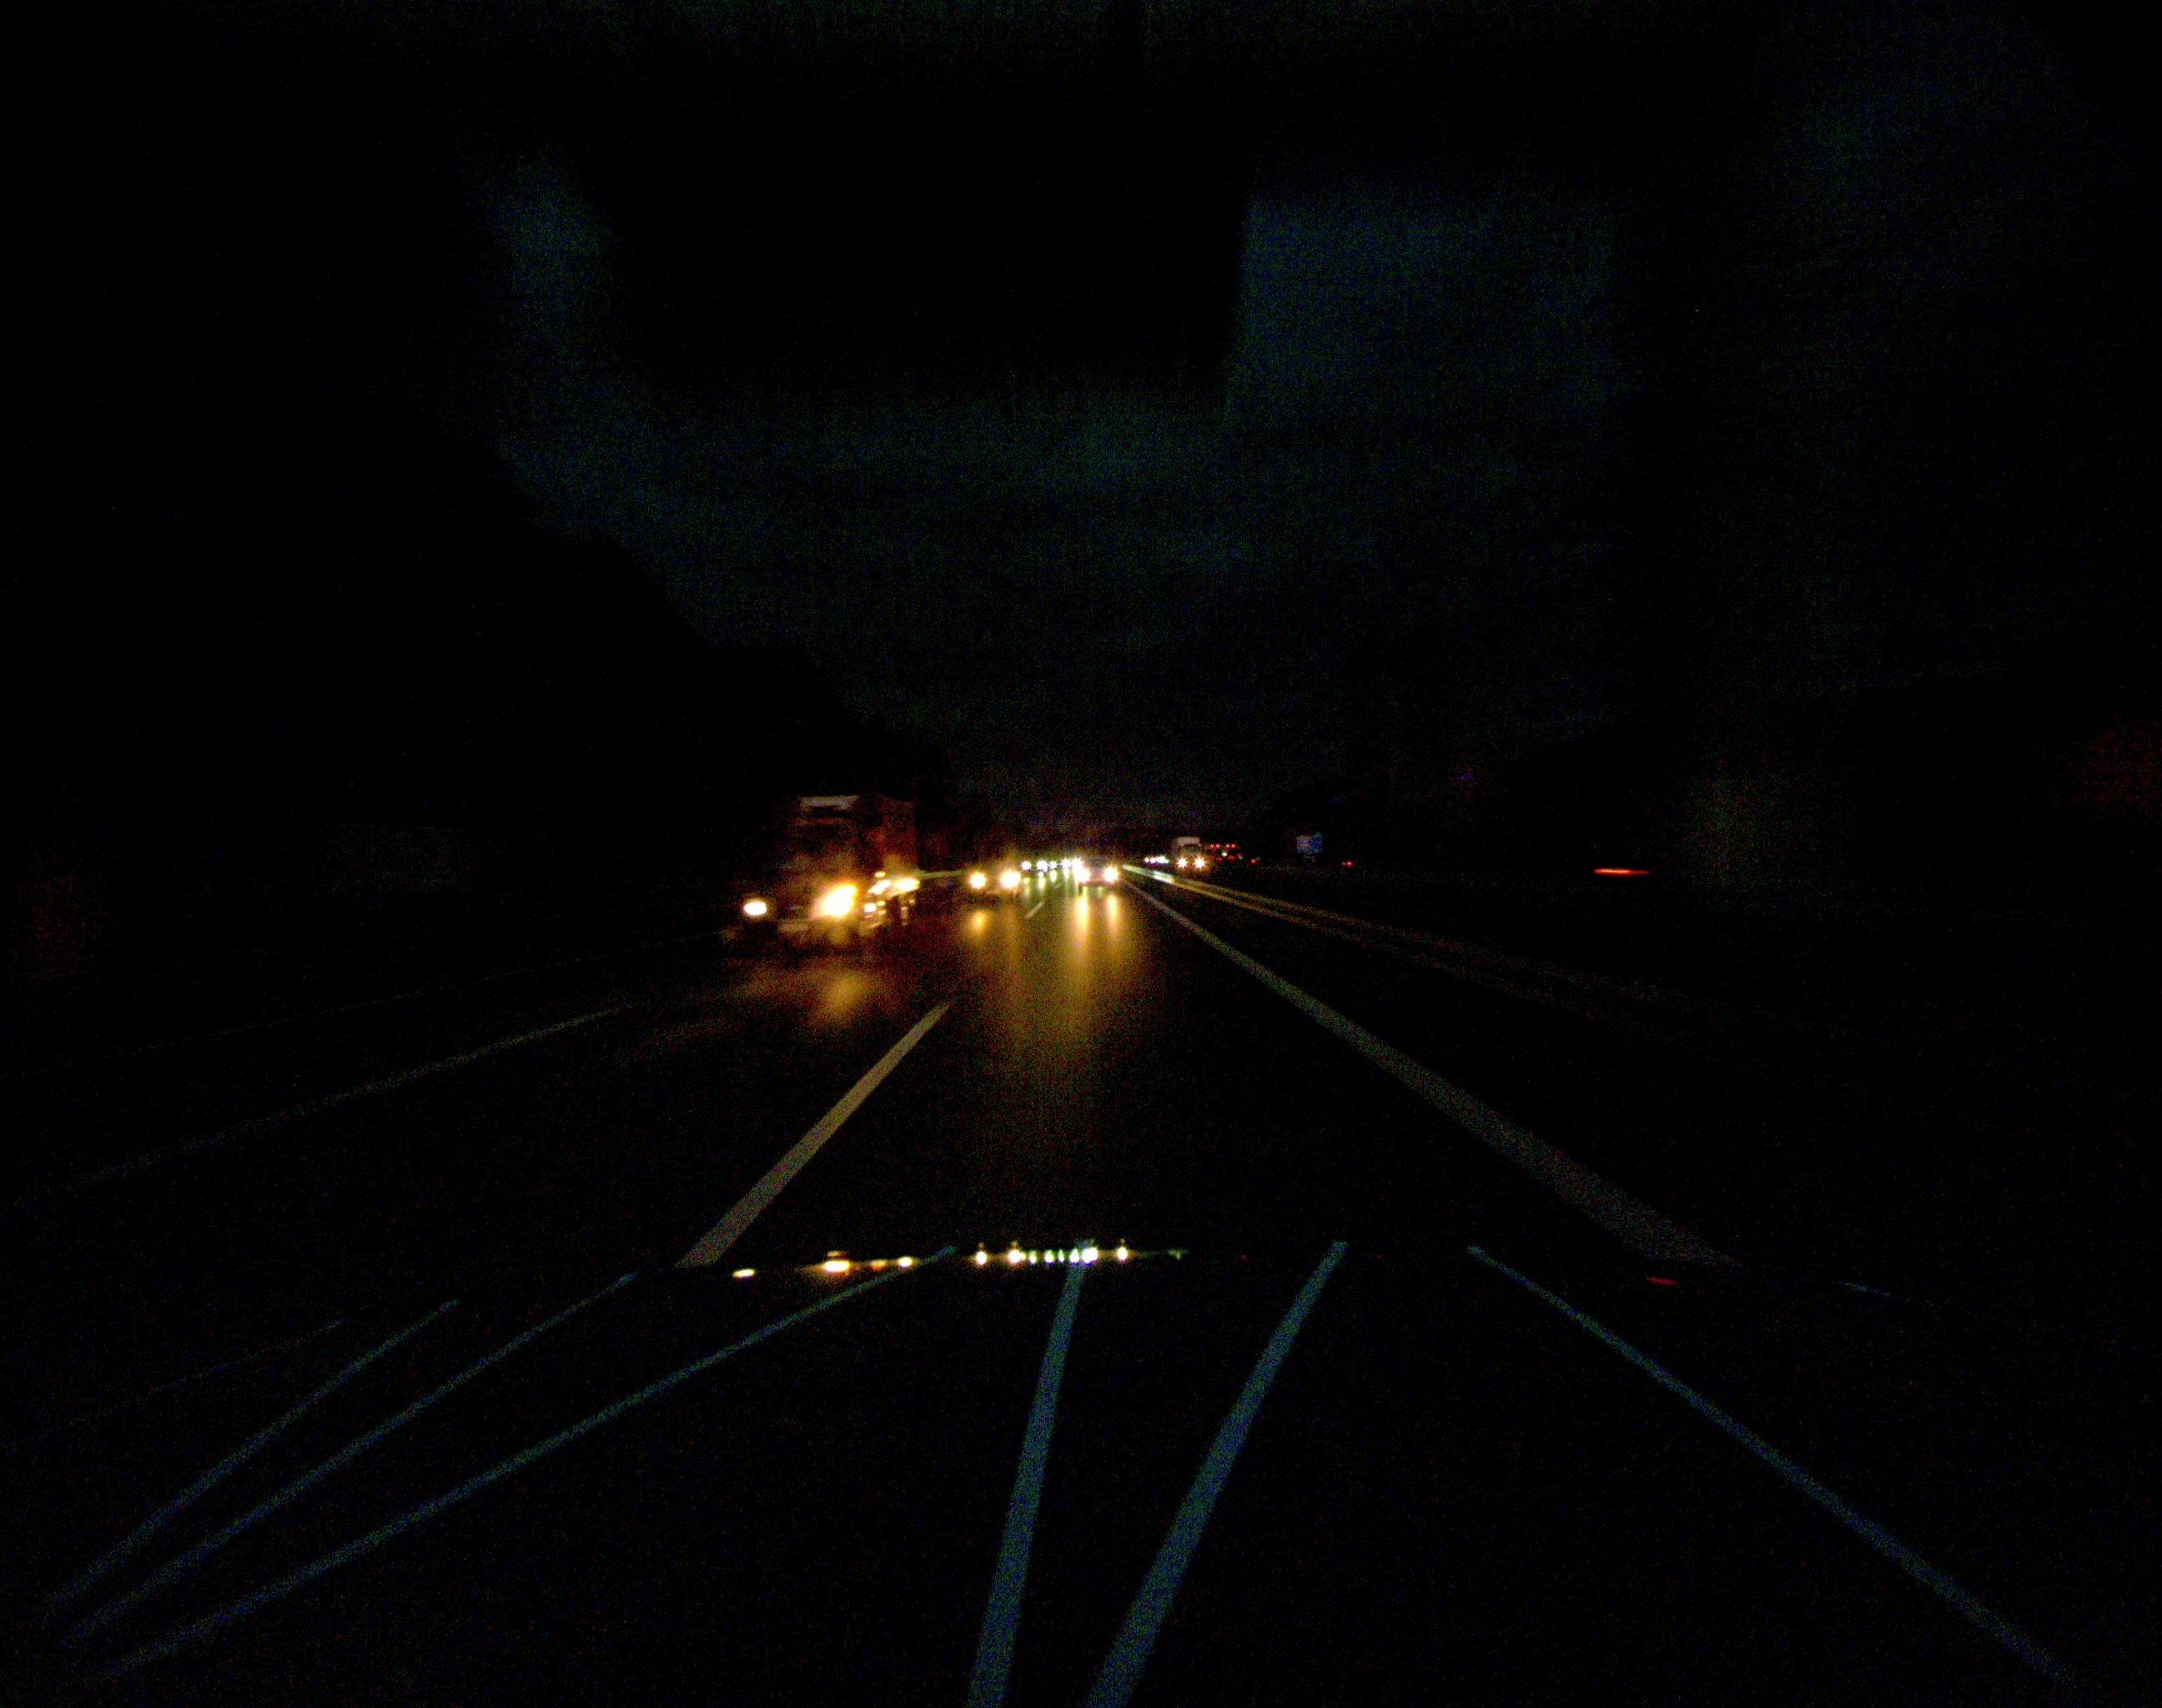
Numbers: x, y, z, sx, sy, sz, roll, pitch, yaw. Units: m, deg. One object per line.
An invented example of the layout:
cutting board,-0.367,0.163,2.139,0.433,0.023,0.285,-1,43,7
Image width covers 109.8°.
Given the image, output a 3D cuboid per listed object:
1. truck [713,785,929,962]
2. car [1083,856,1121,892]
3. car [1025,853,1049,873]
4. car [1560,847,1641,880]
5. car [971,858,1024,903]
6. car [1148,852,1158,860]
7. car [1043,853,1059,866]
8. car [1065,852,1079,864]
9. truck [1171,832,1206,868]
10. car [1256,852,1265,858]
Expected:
truck,-5.129,0.329,16.371,2.274,2.954,6.631,-2,0,0
car,0.953,0.905,35.483,1.669,1.551,3.756,0,0,1
car,-3.969,0.786,68.988,1.802,1.635,5.160,1,0,0
car,33.639,0.577,49.387,1.998,2.002,4.733,0,1,1
car,-3.041,0.929,28.139,1.615,1.547,3.318,0,1,0
car,16.626,0.438,175.547,1.833,1.674,4.229,-2,0,1
car,-3.562,0.609,90.471,1.803,1.483,5.116,-3,0,-2
car,-1.284,0.546,106.660,1.803,1.483,4.434,-3,0,-2
truck,13.156,-0.515,93.667,3.046,4.276,9.890,0,1,0
car,49.623,0.306,209.916,1.840,1.434,4.468,0,0,4
